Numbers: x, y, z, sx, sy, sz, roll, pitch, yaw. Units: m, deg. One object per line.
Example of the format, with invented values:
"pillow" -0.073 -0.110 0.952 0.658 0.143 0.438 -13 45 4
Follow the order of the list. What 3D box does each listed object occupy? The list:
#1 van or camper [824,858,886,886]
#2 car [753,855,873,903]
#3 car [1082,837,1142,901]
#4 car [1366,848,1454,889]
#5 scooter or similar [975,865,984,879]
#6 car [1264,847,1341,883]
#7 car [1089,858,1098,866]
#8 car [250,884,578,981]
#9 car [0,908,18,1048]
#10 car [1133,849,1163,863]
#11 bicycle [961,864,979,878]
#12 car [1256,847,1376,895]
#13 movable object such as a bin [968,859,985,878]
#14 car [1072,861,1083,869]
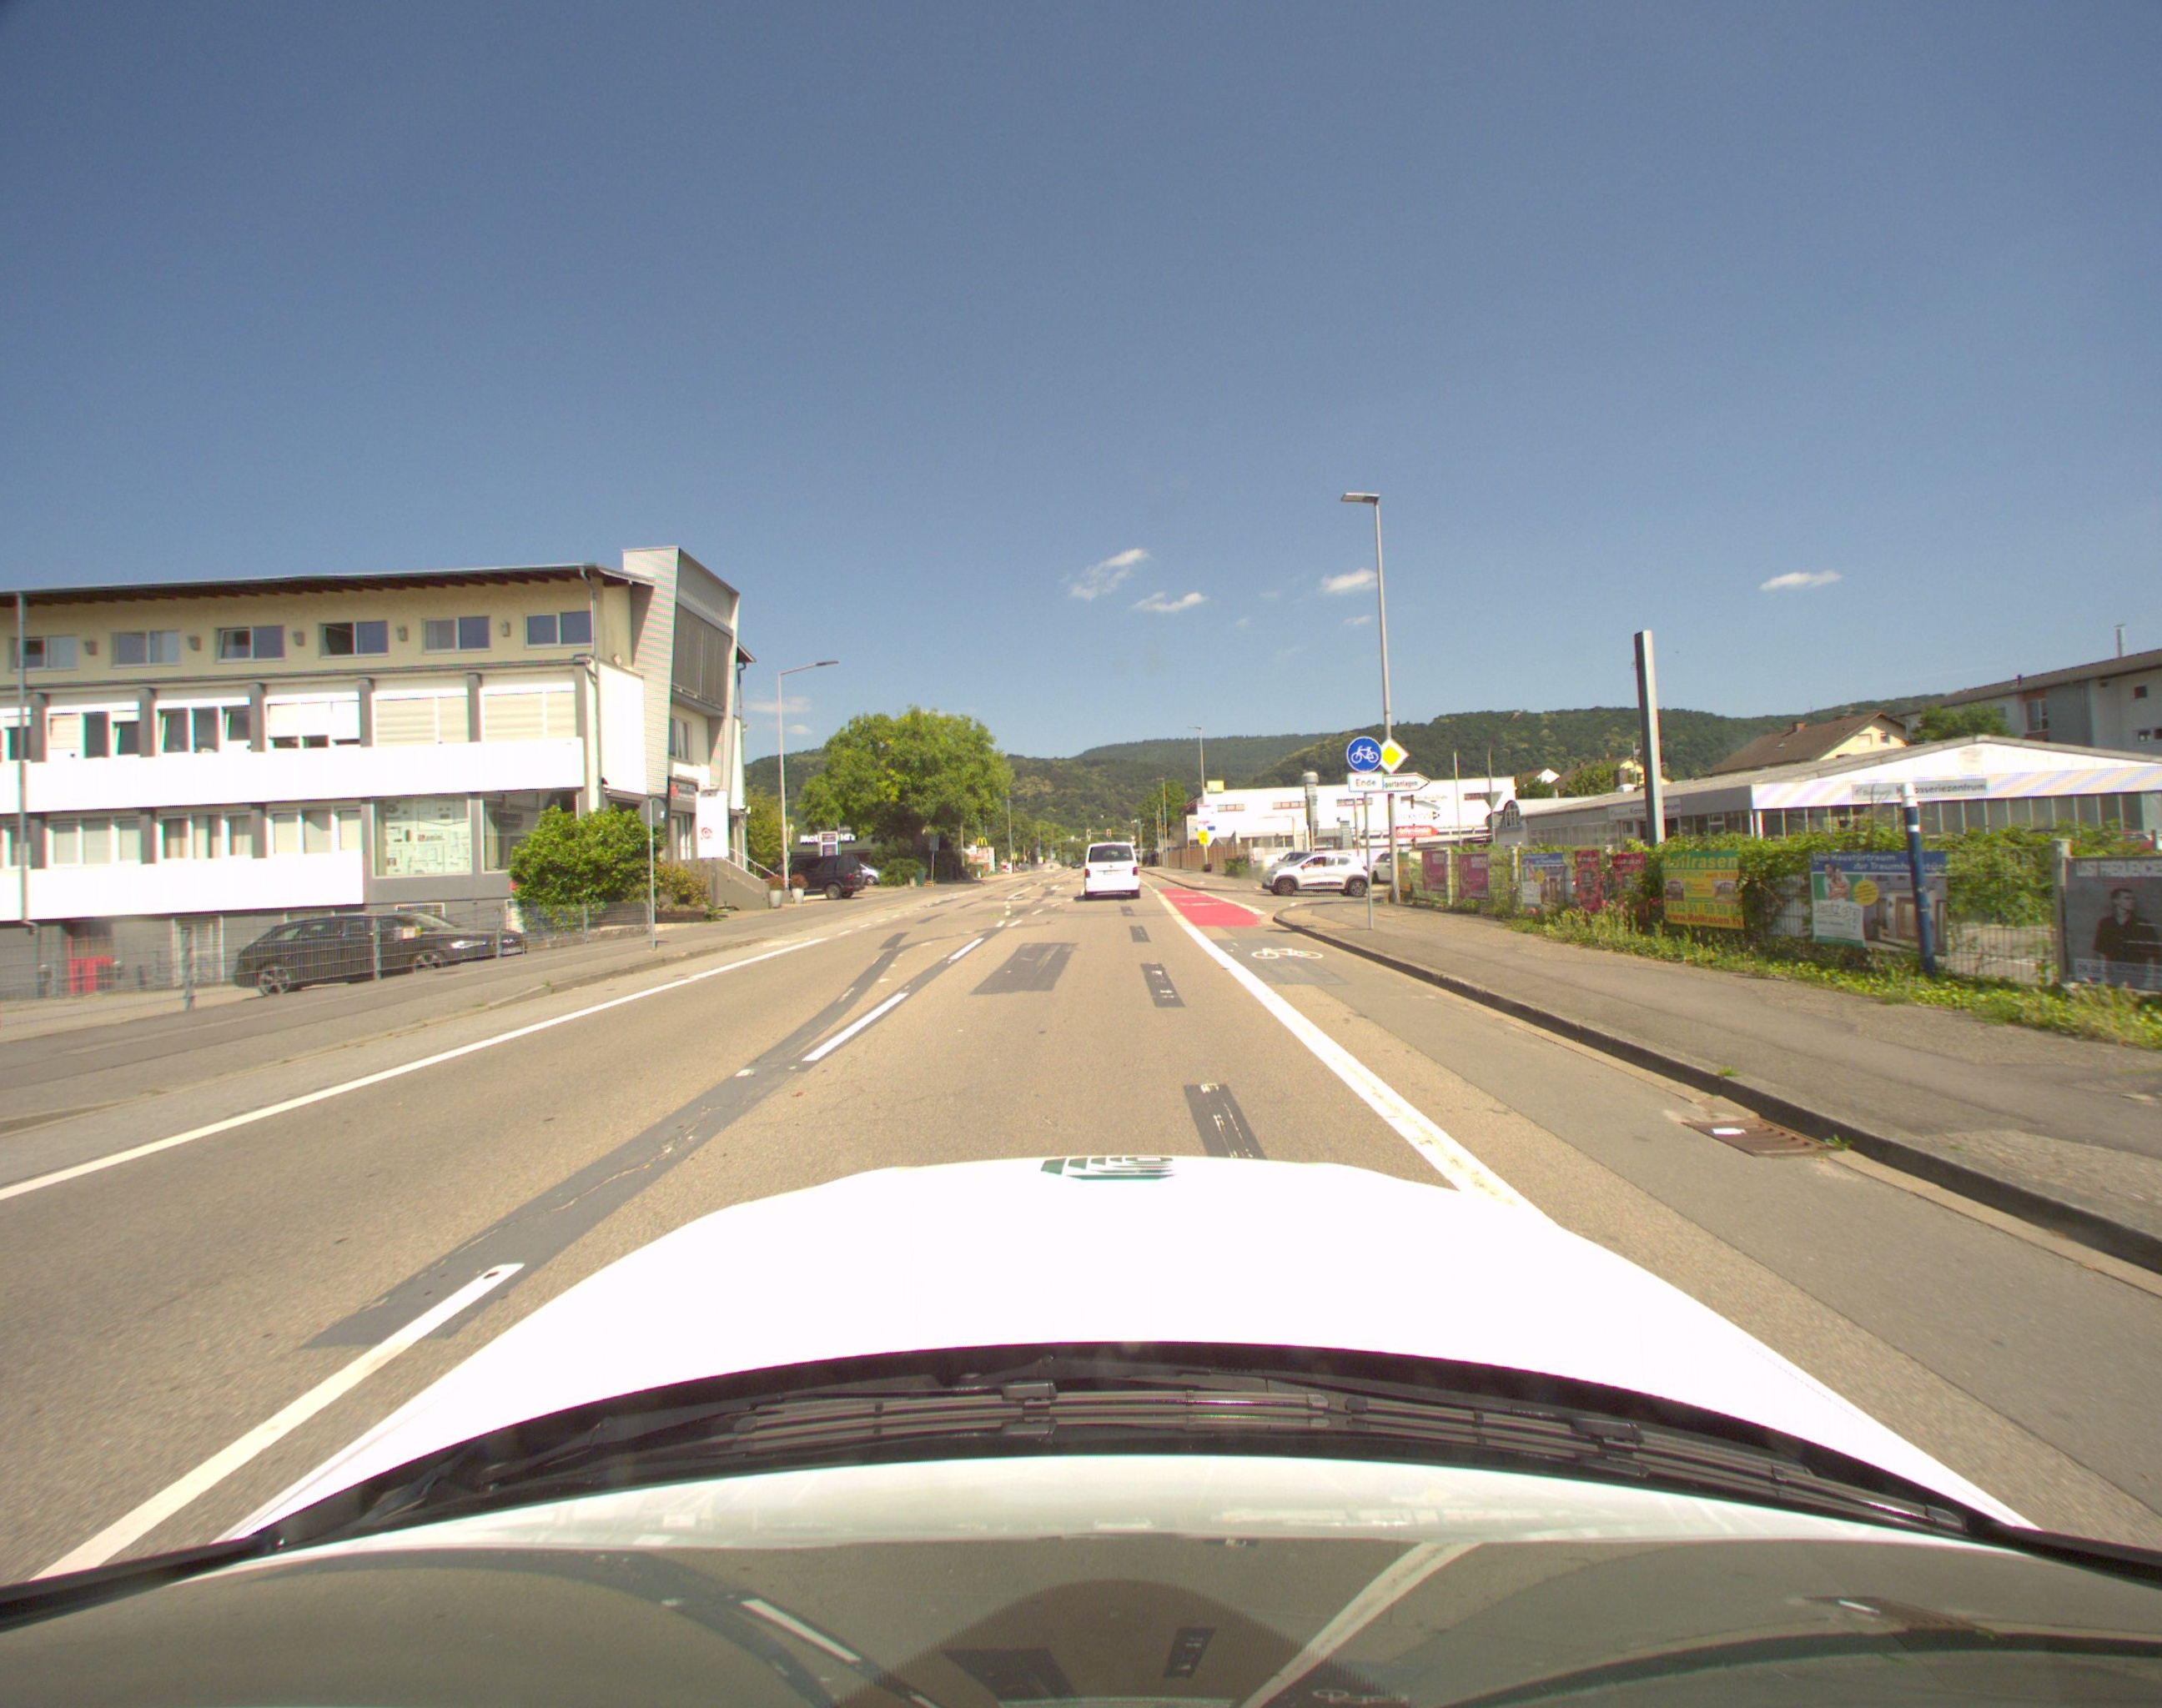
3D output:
"van or camper" -14.282 1.126 51.618 3.378 1.665 1.635 0 0 3
"car" -11.760 1.071 35.966 4.557 1.865 2.090 -2 0 -4
"car" 1.026 0.500 29.175 1.928 2.059 4.543 -2 0 0
"car" 13.580 0.556 33.888 1.841 1.504 4.507 -2 0 1
"scooter or similar" -8.429 1.459 67.548 0.646 1.127 1.620 0 0 -5
"car" 9.364 0.469 34.239 1.933 1.359 4.525 1 -1 31
"car" 2.541 1.616 164.603 1.843 1.588 4.002 -3 0 2
"car" -13.034 1.493 16.177 4.724 1.481 2.048 -3 0 0
"car" -14.219 1.499 8.152 4.286 1.558 1.993 -3 0 -3
"car" 9.469 0.258 114.619 3.965 1.775 2.004 -3 0 7
"bicycle" -8.708 1.322 63.965 1.024 1.118 2.764 0 0 -1
"car" 8.070 0.572 28.206 3.650 1.484 1.729 -2 0 2
"movable object such as a bin" -9.407 1.281 73.450 1.447 1.590 1.304 -3 0 -7
"car" -0.656 2.157 160.080 1.988 1.370 4.323 -3 0 -2
